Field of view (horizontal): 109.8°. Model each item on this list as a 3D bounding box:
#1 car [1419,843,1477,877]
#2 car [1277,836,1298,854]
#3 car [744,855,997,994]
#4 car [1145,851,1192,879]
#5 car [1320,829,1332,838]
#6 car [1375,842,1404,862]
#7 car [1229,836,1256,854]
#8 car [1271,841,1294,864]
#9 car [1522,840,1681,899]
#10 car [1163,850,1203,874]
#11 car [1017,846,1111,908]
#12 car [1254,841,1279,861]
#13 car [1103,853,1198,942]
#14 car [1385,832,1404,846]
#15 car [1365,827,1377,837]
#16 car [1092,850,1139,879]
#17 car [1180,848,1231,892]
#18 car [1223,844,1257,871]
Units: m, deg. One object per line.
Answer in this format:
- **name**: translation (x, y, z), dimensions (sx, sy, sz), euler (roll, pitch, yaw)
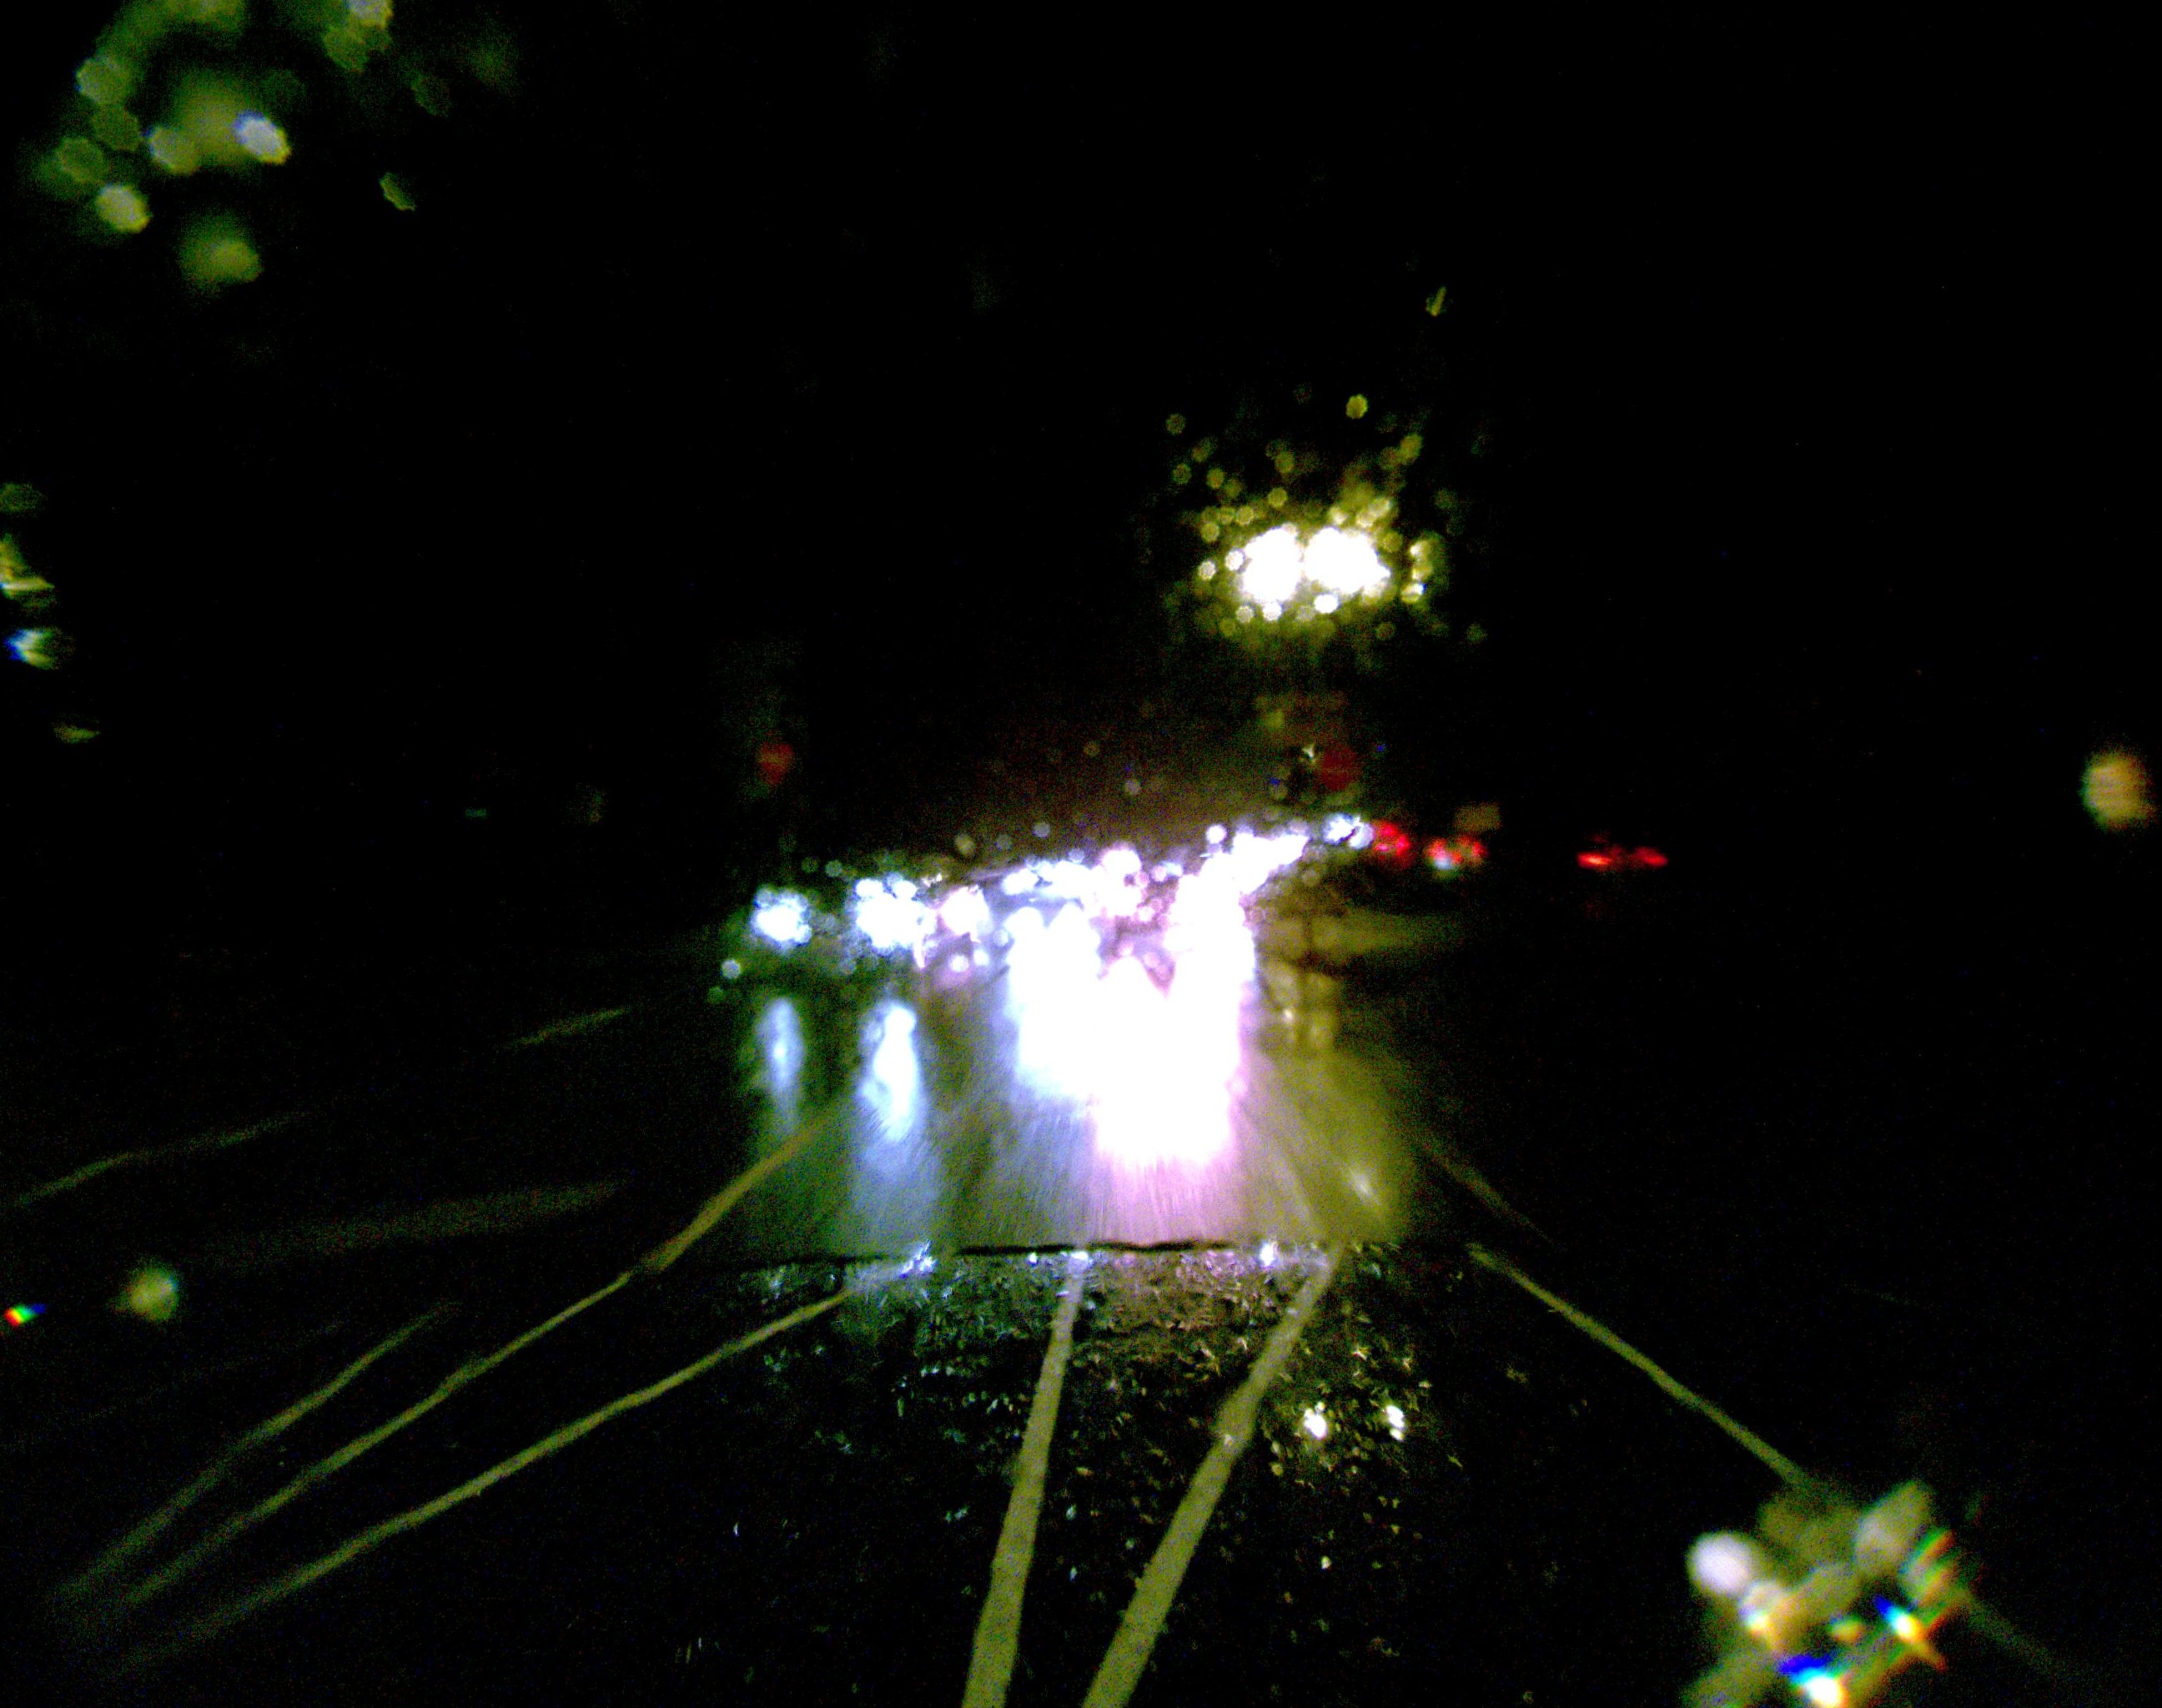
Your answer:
- **car**: translation (16.698, 0.272, 34.703), dimensions (1.567, 1.424, 3.498), euler (-2, 0, 13)
- **car**: translation (22.654, -1.018, 83.328), dimensions (1.965, 1.784, 4.004), euler (-2, 2, 18)
- **car**: translation (-2.699, 0.830, 11.007), dimensions (1.676, 1.497, 4.562), euler (-3, 0, 10)
- **car**: translation (5.269, 0.612, 45.317), dimensions (1.740, 1.410, 4.144), euler (-2, 2, 21)
- **car**: translation (49.728, -4.228, 154.048), dimensions (1.995, 1.670, 4.005), euler (-2, 2, 22)
- **car**: translation (23.687, -0.155, 58.394), dimensions (1.791, 1.448, 4.583), euler (1, 1, 19)
- **car**: translation (16.155, -0.947, 75.782), dimensions (1.996, 1.589, 4.396), euler (-1, 2, 20)
- **car**: translation (19.378, -0.197, 73.195), dimensions (1.996, 2.002, 4.003), euler (-2, 2, 15)
- **car**: translation (14.489, 0.386, 21.519), dimensions (1.783, 1.452, 4.479), euler (-1, 0, 6)
- **car**: translation (7.570, 0.582, 56.036), dimensions (1.996, 1.589, 4.398), euler (-2, 0, 20)
- **car**: translation (-0.399, 0.631, 22.998), dimensions (1.709, 1.513, 4.417), euler (-2, 2, 13)
- **car**: translation (14.953, -0.255, 61.109), dimensions (1.604, 1.417, 3.392), euler (-4, 1, 18)
- **car**: translation (1.338, 0.717, 14.124), dimensions (1.496, 1.416, 3.391), euler (-2, 0, 7)
- **car**: translation (33.858, -1.625, 82.008), dimensions (1.735, 1.487, 3.946), euler (1, 2, 24)
- **car**: translation (47.605, -3.556, 124.732), dimensions (1.850, 1.562, 3.512), euler (-1, 1, 22)
- **car**: translation (2.091, 0.597, 44.892), dimensions (1.741, 1.410, 4.143), euler (-2, 2, 16)
- **car**: translation (4.983, 0.590, 30.100), dimensions (1.604, 1.417, 3.392), euler (-4, 1, 15)
- **car**: translation (9.781, 0.179, 46.635), dimensions (1.604, 1.417, 3.392), euler (-4, 1, 18)
